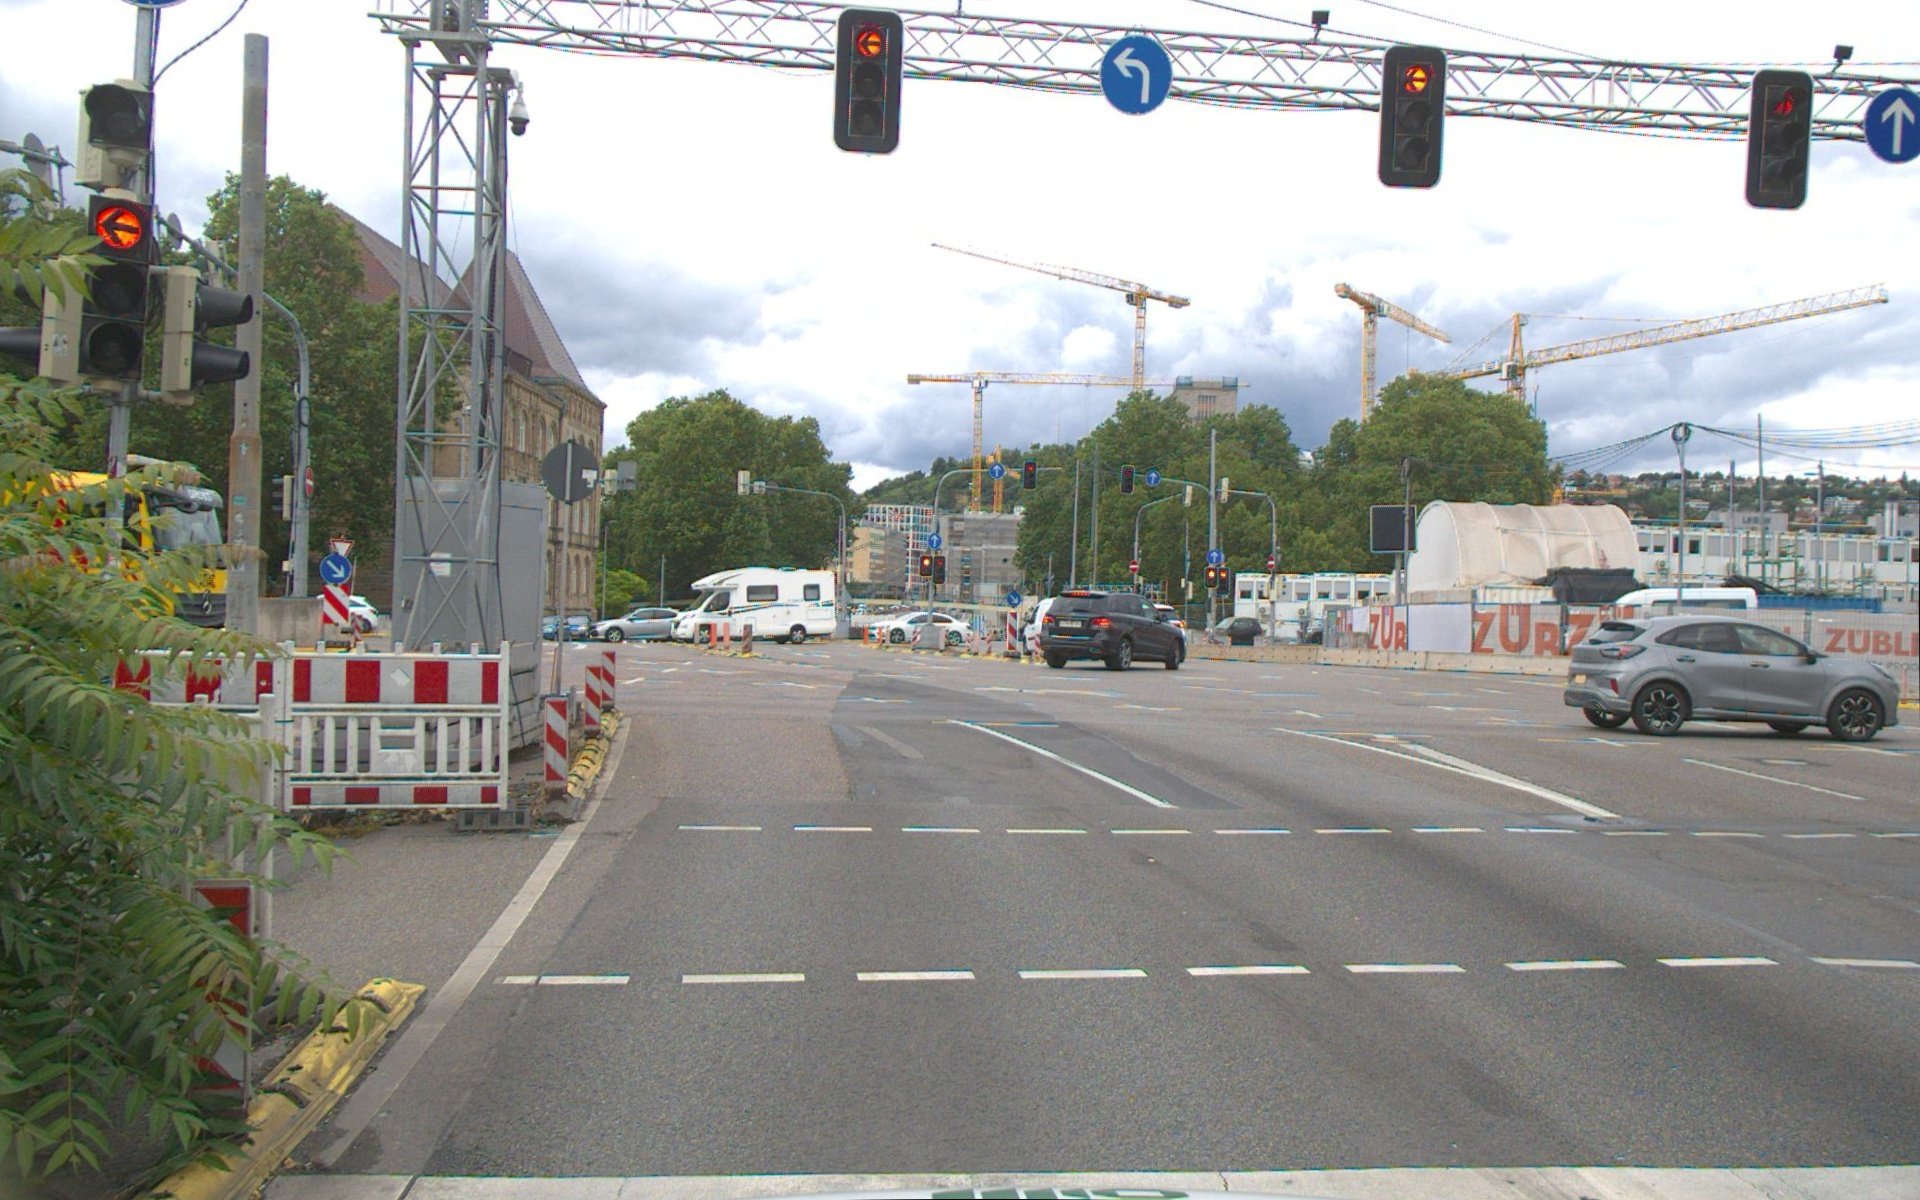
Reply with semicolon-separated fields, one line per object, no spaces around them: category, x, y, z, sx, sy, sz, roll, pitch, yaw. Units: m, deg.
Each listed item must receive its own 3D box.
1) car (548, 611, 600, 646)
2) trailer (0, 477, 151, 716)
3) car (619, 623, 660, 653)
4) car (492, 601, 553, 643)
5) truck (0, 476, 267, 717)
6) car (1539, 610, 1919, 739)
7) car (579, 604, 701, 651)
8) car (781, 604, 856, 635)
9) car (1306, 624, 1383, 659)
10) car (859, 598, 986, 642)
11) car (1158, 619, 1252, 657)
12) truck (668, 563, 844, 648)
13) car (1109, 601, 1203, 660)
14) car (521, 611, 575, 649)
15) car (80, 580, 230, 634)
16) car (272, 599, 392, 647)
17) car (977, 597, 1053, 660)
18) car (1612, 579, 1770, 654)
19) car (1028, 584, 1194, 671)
car;-21.715;1.583;93.141;1.952;1.870;4.000;1;0;0
trailer;-14.347;-0.096;20.407;7.203;2.773;2.860;1;0;-4
car;-21.739;2.561;112.264;1.952;1.870;4.000;1;0;0
car;-20.432;1.024;77.394;1.954;1.870;3.997;1;0;-3
truck;-11.316;-0.053;20.623;4.120;2.773;2.861;1;0;-2
car;10.145;0.950;21.930;4.209;1.567;1.999;1;0;-3
car;-12.861;1.091;66.498;4.508;1.806;1.984;1;0;-26
car;-8.002;1.091;93.814;3.902;1.691;2.001;1;0;6
car;20.520;2.231;88.469;3.902;1.758;2.002;1;0;11
car;-1.627;0.885;72.052;5.101;1.816;2.149;1;0;-24
car;11.537;1.801;77.930;3.926;1.713;1.989;1;0;-19
truck;-8.030;0.248;65.193;6.495;3.201;2.349;1;0;-24
car;6.169;0.933;52.576;1.956;1.790;4.498;1;0;-7
car;-21.479;1.558;86.363;1.954;1.870;3.997;1;0;-3
car;-27.703;0.260;57.101;4.525;1.754;1.894;1;0;-25
car;-23.536;0.863;61.994;4.093;1.754;1.894;1;0;-24
car;1.674;0.862;51.847;1.827;1.865;4.717;1;0;-5
car;21.061;0.453;47.813;3.902;2.049;2.001;1;0;15
car;3.554;0.622;38.325;1.960;1.866;4.241;1;0;35
